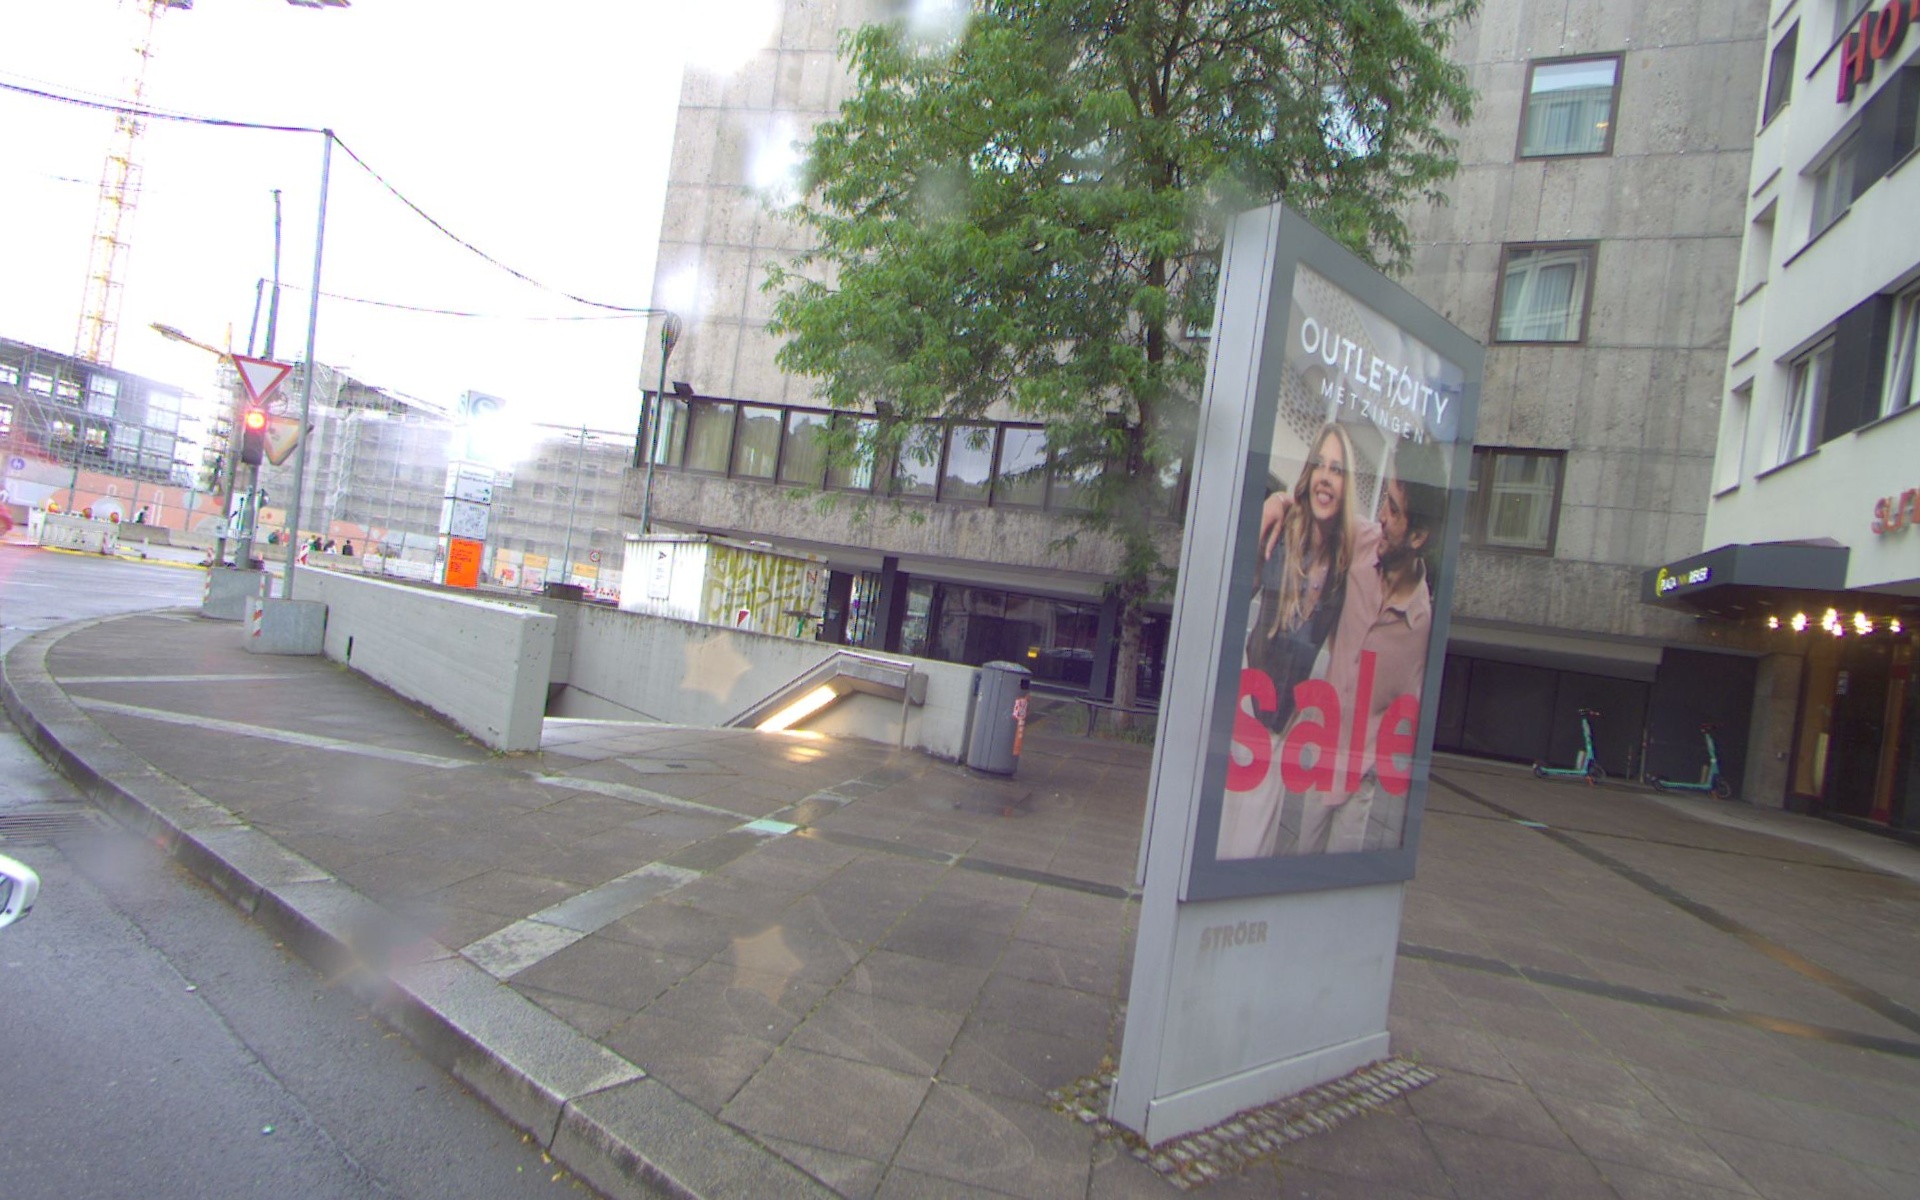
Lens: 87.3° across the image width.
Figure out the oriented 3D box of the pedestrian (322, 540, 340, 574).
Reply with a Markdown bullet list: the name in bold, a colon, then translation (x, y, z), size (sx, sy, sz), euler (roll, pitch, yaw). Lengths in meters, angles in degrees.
- **pedestrian**: translation (-36.998, -2.539, 59.169), size (0.355, 1.919, 0.577), euler (7, -2, 21)

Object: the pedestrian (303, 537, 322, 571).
- **pedestrian**: translation (-38.078, -2.688, 59.156), size (0.355, 1.919, 0.577), euler (7, -2, 21)

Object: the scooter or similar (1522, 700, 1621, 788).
- **scooter or similar**: translation (10.271, 2.406, 16.937), size (1.208, 1.269, 0.565), euler (7, 0, 19)

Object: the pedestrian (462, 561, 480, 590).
- **pedestrian**: translation (-34.410, -1.741, 70.788), size (0.555, 1.919, 0.801), euler (7, -2, 17)

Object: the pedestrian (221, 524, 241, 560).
- **pedestrian**: translation (-40.247, -3.200, 55.515), size (0.355, 1.919, 0.577), euler (7, -2, 21)

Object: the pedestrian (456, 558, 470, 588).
- **pedestrian**: translation (-33.936, -1.839, 68.674), size (0.355, 1.919, 0.577), euler (7, -2, 21)

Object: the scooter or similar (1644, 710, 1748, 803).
- **scooter or similar**: translation (12.353, 2.604, 16.914), size (1.208, 1.352, 0.520), euler (7, -2, 19)

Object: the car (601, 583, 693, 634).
- **car**: translation (-14.948, 0.467, 48.384), size (1.962, 1.817, 5.113), euler (7, -3, 9)

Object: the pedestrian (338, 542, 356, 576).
- **pedestrian**: translation (-36.360, -2.420, 59.685), size (0.355, 1.919, 0.577), euler (7, -2, 21)

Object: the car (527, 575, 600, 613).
- **car**: translation (-23.551, -0.326, 59.882), size (1.838, 1.669, 3.751), euler (7, -3, 19)

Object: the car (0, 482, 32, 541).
- **car**: translation (-30.827, -3.001, 30.046), size (1.962, 1.727, 4.008), euler (7, -3, 14)

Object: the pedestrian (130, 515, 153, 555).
- **pedestrian**: translation (-40.953, -3.249, 50.340), size (0.355, 1.919, 0.577), euler (7, -2, 21)

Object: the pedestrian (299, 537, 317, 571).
- **pedestrian**: translation (-38.703, -2.739, 59.735), size (0.355, 1.919, 0.577), euler (7, -2, 21)
